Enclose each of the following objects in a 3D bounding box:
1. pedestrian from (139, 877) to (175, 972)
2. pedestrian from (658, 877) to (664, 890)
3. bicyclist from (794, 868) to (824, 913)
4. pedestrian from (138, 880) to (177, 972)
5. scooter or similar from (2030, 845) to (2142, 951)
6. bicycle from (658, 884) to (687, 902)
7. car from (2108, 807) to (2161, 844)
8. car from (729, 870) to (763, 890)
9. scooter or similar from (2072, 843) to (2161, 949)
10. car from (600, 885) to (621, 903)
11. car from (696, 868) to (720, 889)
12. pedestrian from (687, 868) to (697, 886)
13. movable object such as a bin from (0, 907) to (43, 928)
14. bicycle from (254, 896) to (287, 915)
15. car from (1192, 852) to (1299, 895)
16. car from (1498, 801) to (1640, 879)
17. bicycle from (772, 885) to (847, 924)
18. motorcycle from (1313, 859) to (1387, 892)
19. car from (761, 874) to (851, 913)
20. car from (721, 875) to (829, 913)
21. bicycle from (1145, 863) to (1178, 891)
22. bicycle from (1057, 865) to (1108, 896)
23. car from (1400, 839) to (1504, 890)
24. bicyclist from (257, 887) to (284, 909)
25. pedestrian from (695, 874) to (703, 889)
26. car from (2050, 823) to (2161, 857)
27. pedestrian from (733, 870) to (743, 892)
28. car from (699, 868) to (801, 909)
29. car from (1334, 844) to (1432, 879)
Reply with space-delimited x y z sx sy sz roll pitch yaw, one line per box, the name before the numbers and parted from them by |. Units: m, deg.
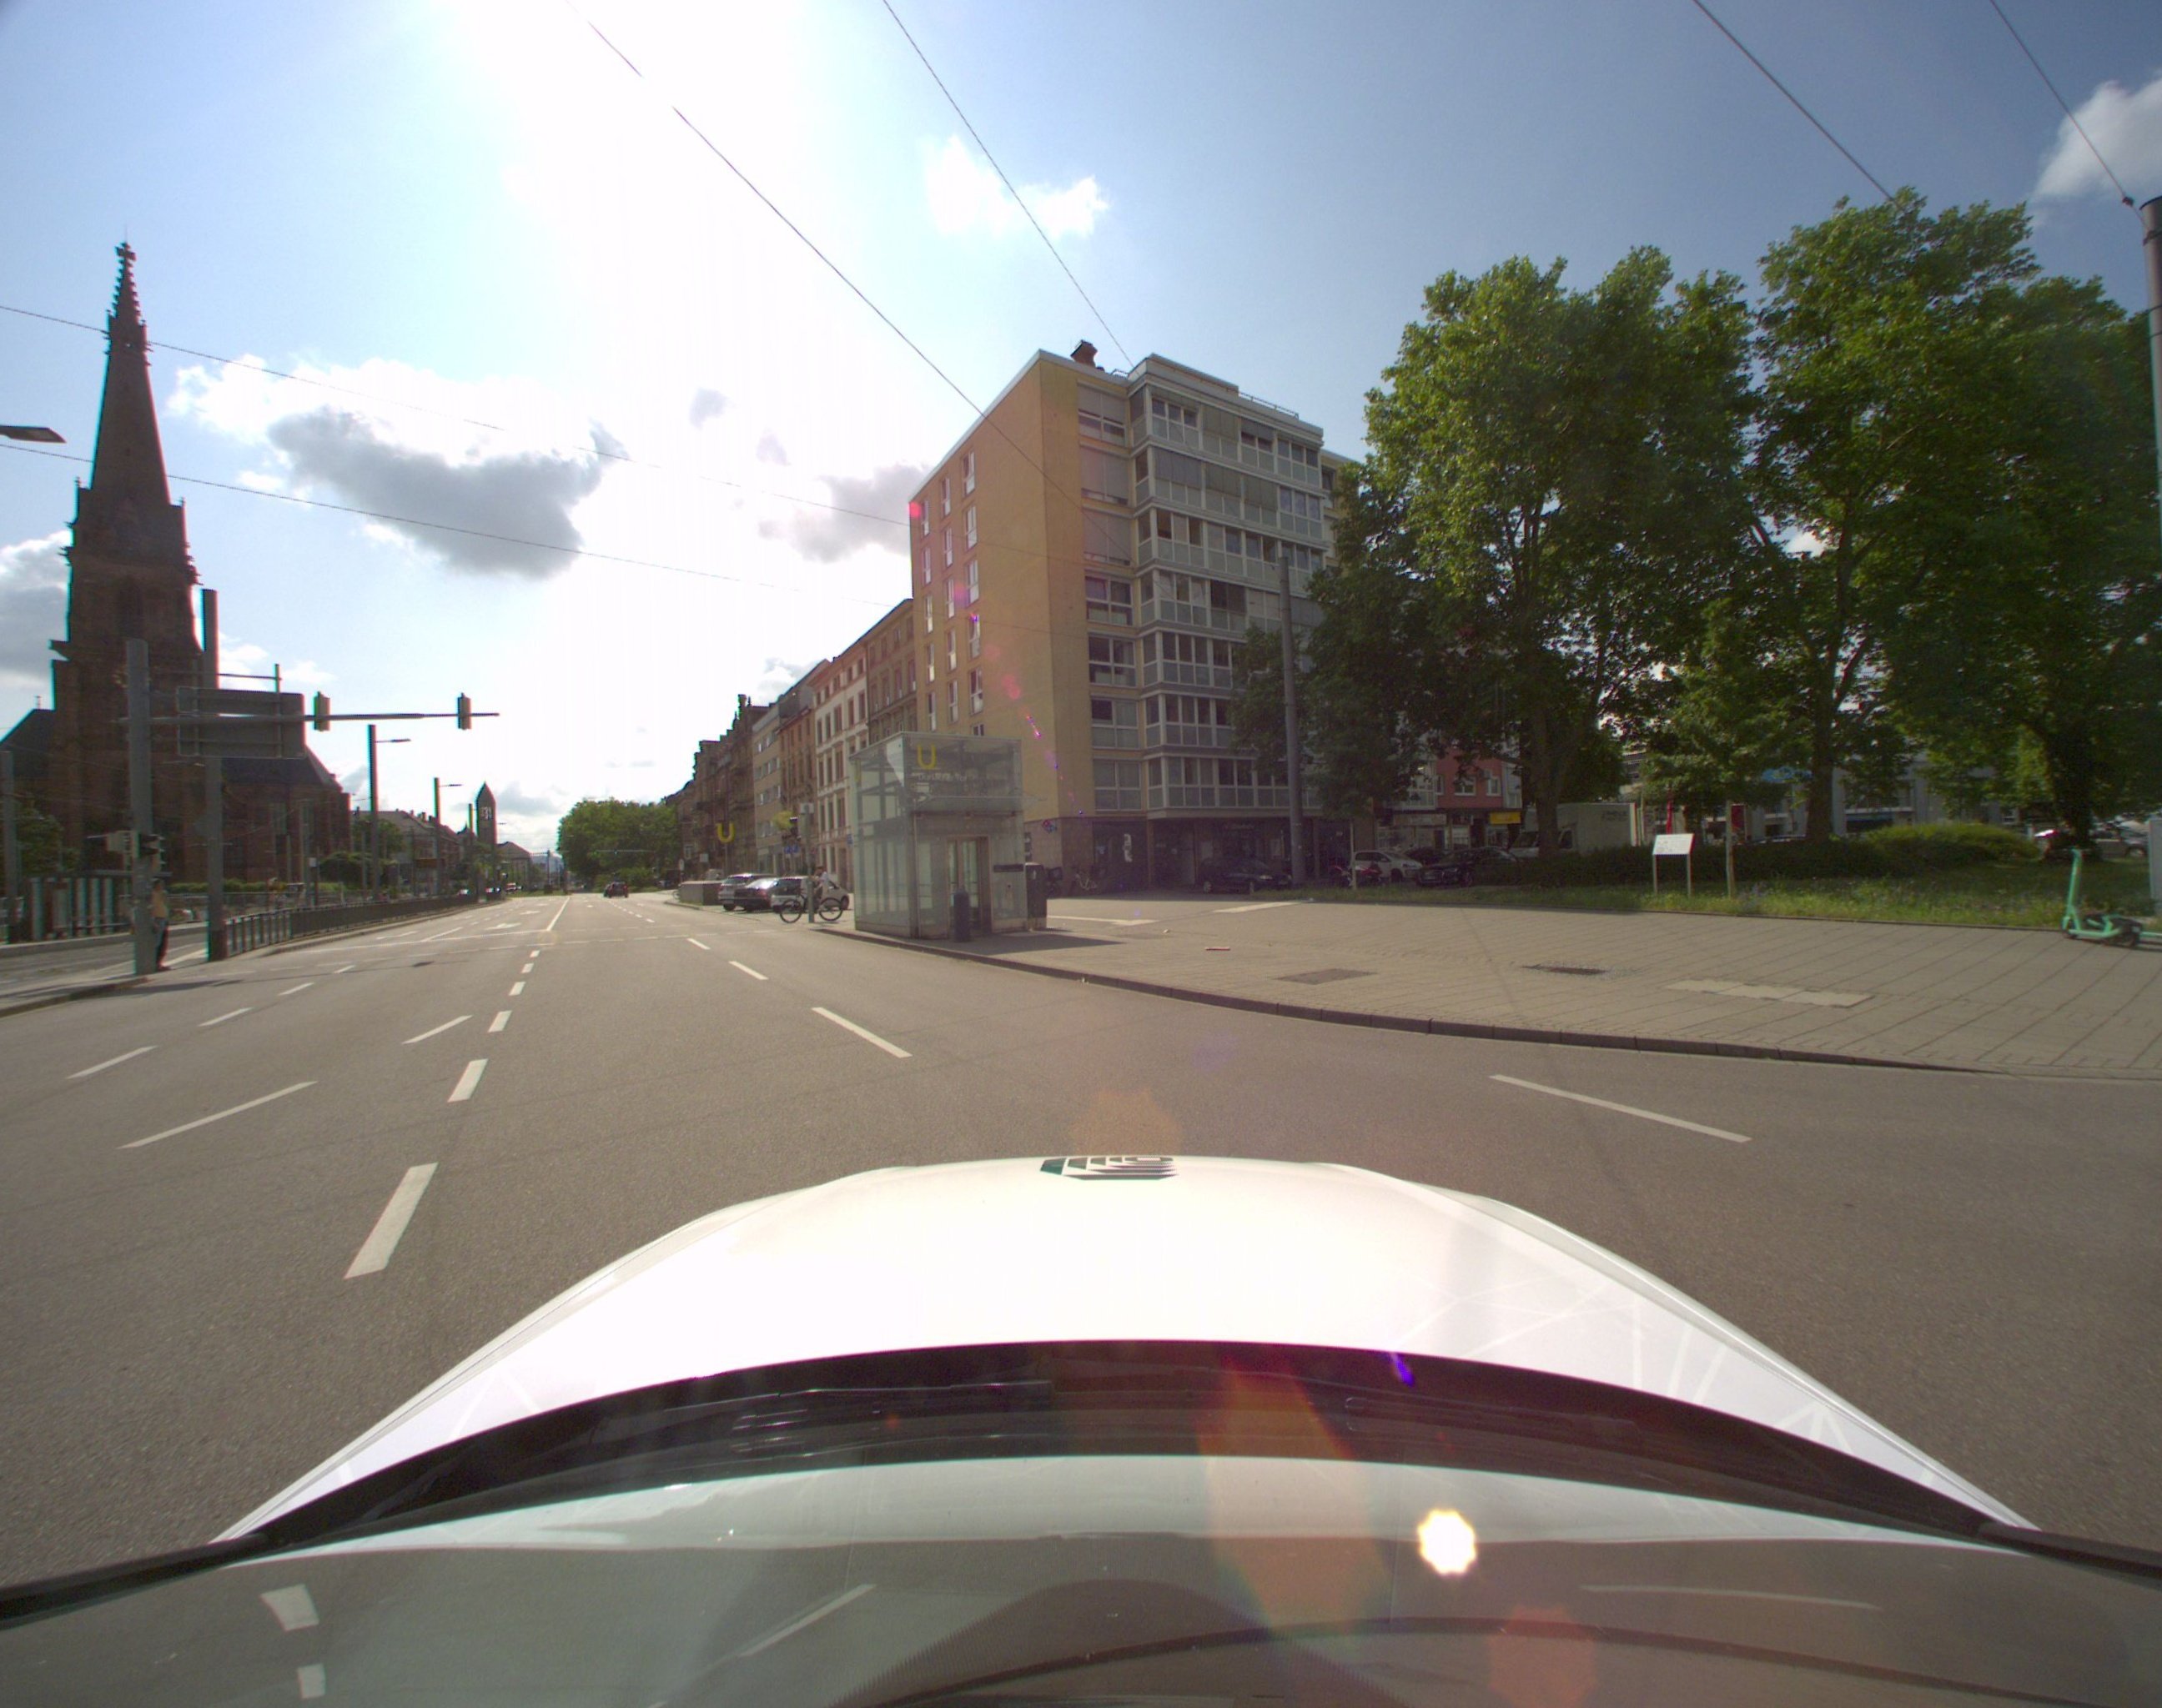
pedestrian | -20.119 1.525 17.737 0.429 2.014 0.571 -2 -1 -44
pedestrian | -66.186 4.616 128.239 0.773 2.014 0.708 -2 -1 -32
bicyclist | -8.387 1.120 25.092 0.780 1.336 0.394 -1 1 -6
pedestrian | -20.740 1.595 18.298 0.506 2.014 0.509 -2 -1 -44
scooter or similar | 12.133 0.498 9.863 0.377 1.196 1.070 -1 1 21
bicycle | -30.643 2.939 61.099 0.436 1.237 1.942 0 1 45
car | 59.693 -1.552 44.502 1.994 2.013 3.986 -1 1 -11
car | -35.100 2.723 85.249 2.010 1.862 4.698 -2 -1 -38
scooter or similar | 12.631 0.477 9.754 0.378 1.196 1.068 -1 1 11
car | -50.230 4.268 86.910 1.701 1.711 3.571 -2 1 -34
car | -47.251 3.078 103.144 2.007 2.525 5.828 -2 -1 -32
pedestrian | -41.787 2.497 87.561 0.685 1.903 0.669 -3 -1 39
movable object such as a bin | -87.190 5.218 66.715 2.012 1.502 5.090 -2 -1 -45
bicycle | -65.900 4.190 66.254 1.202 1.427 3.654 -2 -1 -34
car | 6.443 0.769 32.334 1.816 1.514 4.053 -2 0 -33
car | 20.663 -0.610 34.325 7.274 3.043 1.980 -2 -1 -32
bicycle | -8.347 1.545 25.104 2.090 1.106 0.543 -1 1 -6
motorcycle | 8.875 0.723 26.955 2.269 1.030 0.979 -2 -2 16
car | -11.287 1.617 33.679 1.759 1.453 3.512 -2 -2 17
car | -13.269 1.713 35.681 1.917 1.460 4.621 -2 -1 18
bicycle | 3.563 1.010 36.121 1.351 1.129 0.588 -2 1 -29
bicycle | 0.059 1.081 33.738 2.204 1.202 0.473 -2 1 -33
car | 13.943 0.360 30.499 4.021 1.706 1.976 -2 0 -40
bicyclist | -65.931 3.590 66.267 1.186 1.684 1.666 -2 -1 -34
pedestrian | -46.928 3.364 100.119 0.668 1.836 0.686 -2 -1 -39
car | 48.505 -0.678 38.161 1.671 1.487 3.663 -2 2 -15
pedestrian | -33.388 2.615 79.303 0.726 2.099 0.778 -2 1 -32
car | -15.596 1.573 38.687 2.039 1.647 4.615 -3 0 16
car | 14.267 0.387 38.635 1.816 1.514 4.053 -2 0 -33
